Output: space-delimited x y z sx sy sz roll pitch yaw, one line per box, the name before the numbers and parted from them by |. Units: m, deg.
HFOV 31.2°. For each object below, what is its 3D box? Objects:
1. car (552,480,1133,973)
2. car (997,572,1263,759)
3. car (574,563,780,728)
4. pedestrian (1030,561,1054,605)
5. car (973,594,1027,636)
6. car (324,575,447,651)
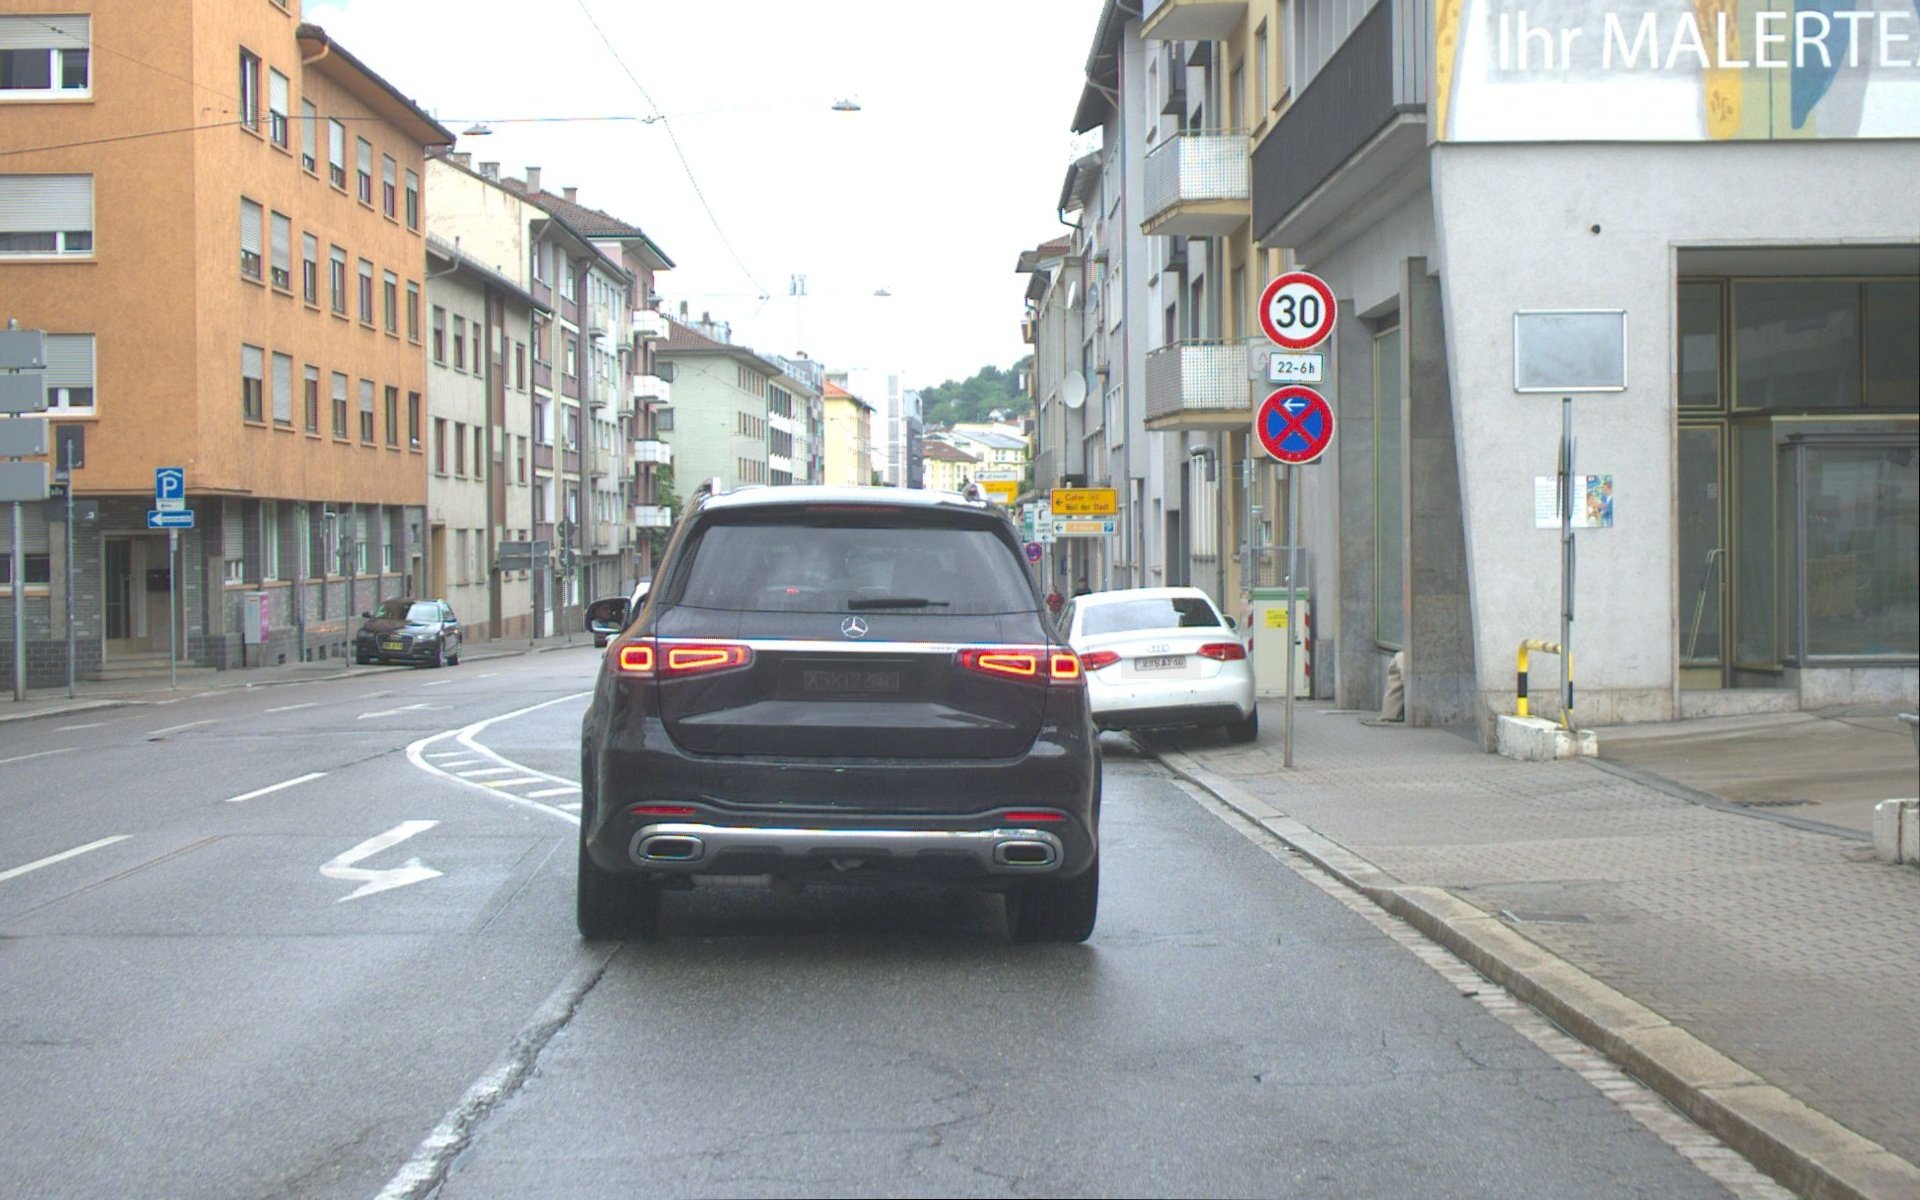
car | -0.597 0.421 14.732 2.076 1.759 4.612 1 1 -4
car | 1.477 0.540 31.634 1.893 1.398 4.609 -5 1 -3
car | -2.806 0.411 34.858 1.893 1.505 4.174 2 1 -3
pedestrian | 2.969 -0.621 124.311 0.821 1.560 0.899 1 1 3
car | 1.398 0.517 122.195 1.734 1.383 4.583 1 1 -1
car | -11.710 0.239 70.347 1.891 1.453 4.550 1 1 -2
